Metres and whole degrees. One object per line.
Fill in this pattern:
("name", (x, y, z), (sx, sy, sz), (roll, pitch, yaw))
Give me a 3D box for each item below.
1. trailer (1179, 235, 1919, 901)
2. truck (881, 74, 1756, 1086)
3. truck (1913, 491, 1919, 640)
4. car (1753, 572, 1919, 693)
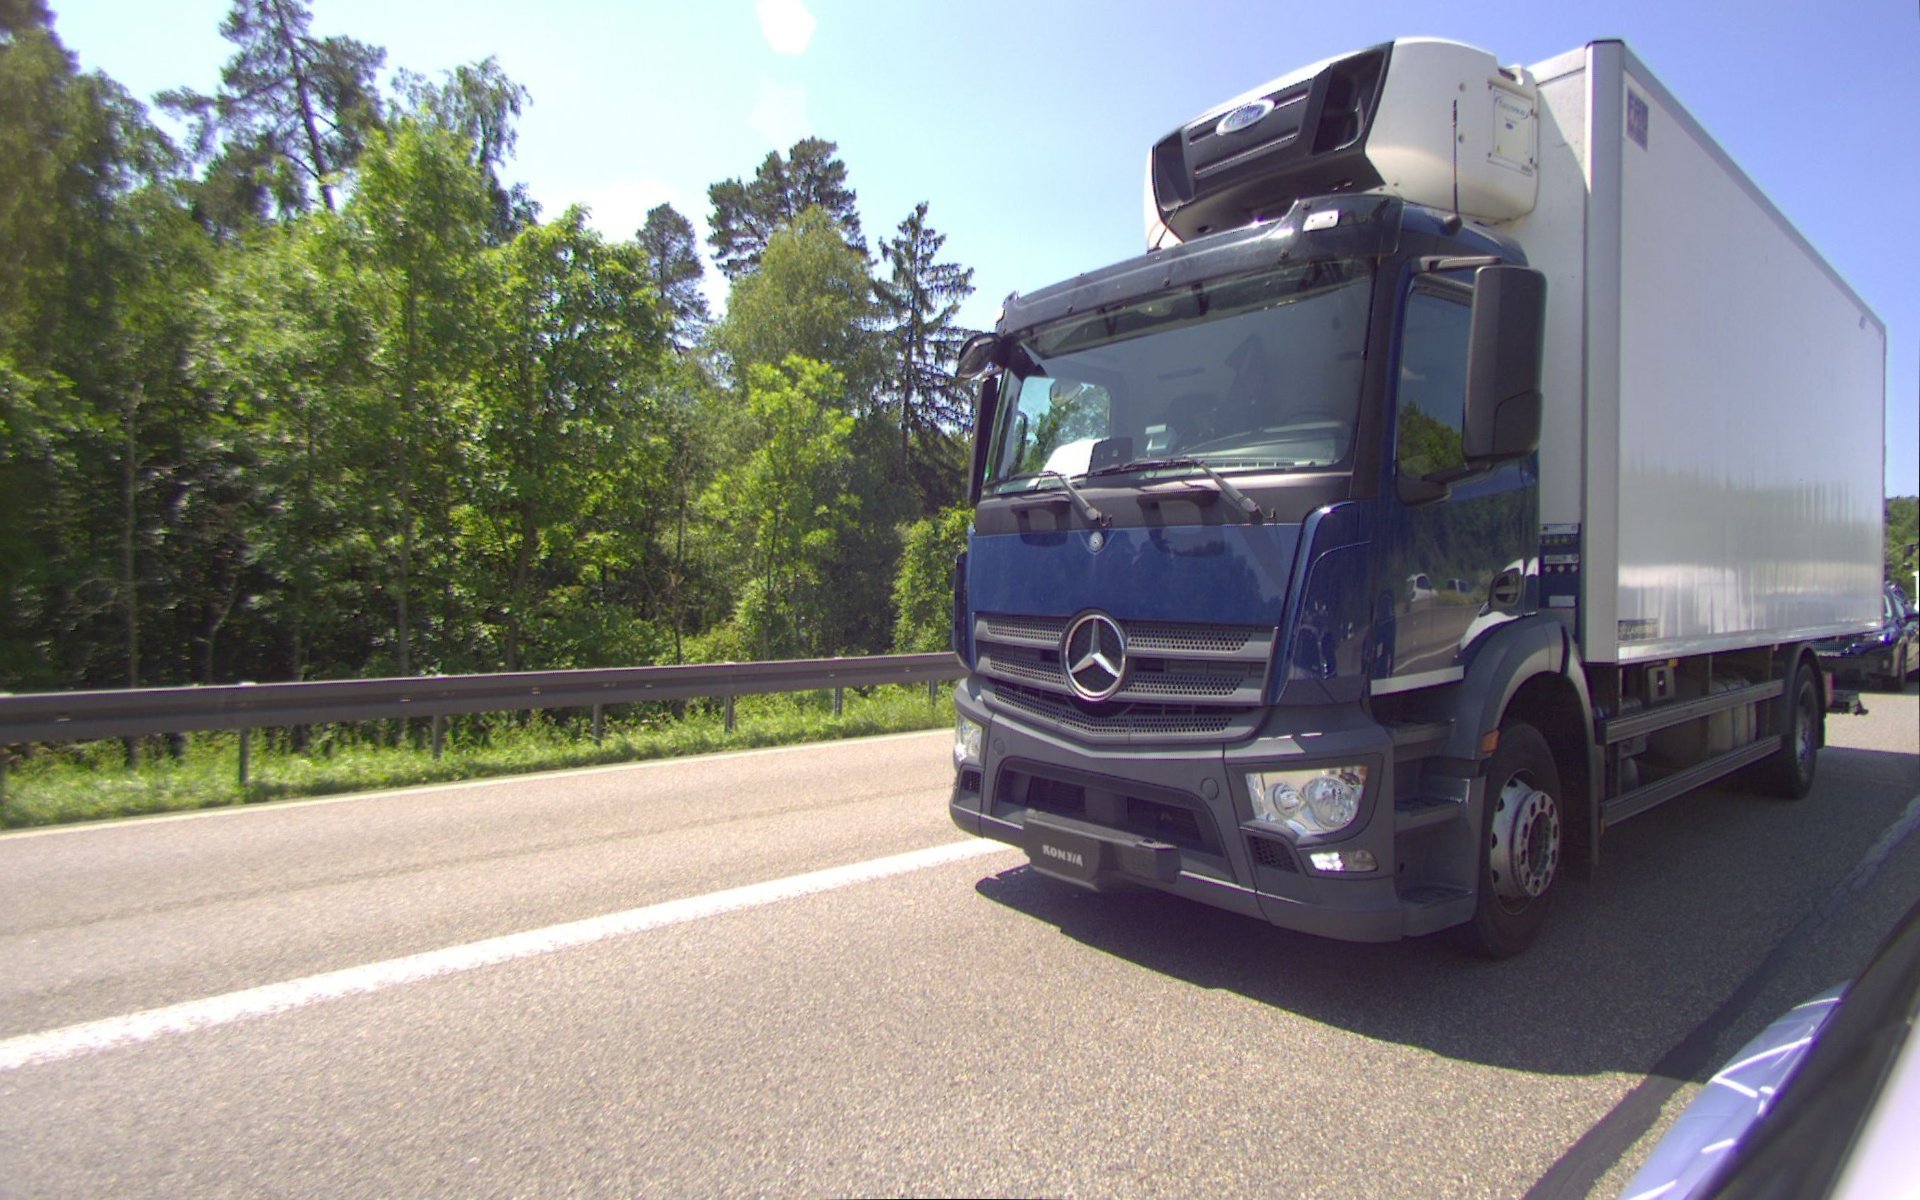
("trailer", (5.193, -0.198, 7.913), (7.741, 2.935, 2.561), (-1, 1, -39))
("truck", (1.971, -0.129, 5.257), (4.031, 2.976, 2.562), (-2, 2, -39))
("truck", (30.269, -1.046, 29.513), (7.205, 4.134, 2.765), (-2, 1, -40))
("car", (15.094, 0.418, 17.078), (4.534, 1.713, 1.996), (-2, 3, -43))
